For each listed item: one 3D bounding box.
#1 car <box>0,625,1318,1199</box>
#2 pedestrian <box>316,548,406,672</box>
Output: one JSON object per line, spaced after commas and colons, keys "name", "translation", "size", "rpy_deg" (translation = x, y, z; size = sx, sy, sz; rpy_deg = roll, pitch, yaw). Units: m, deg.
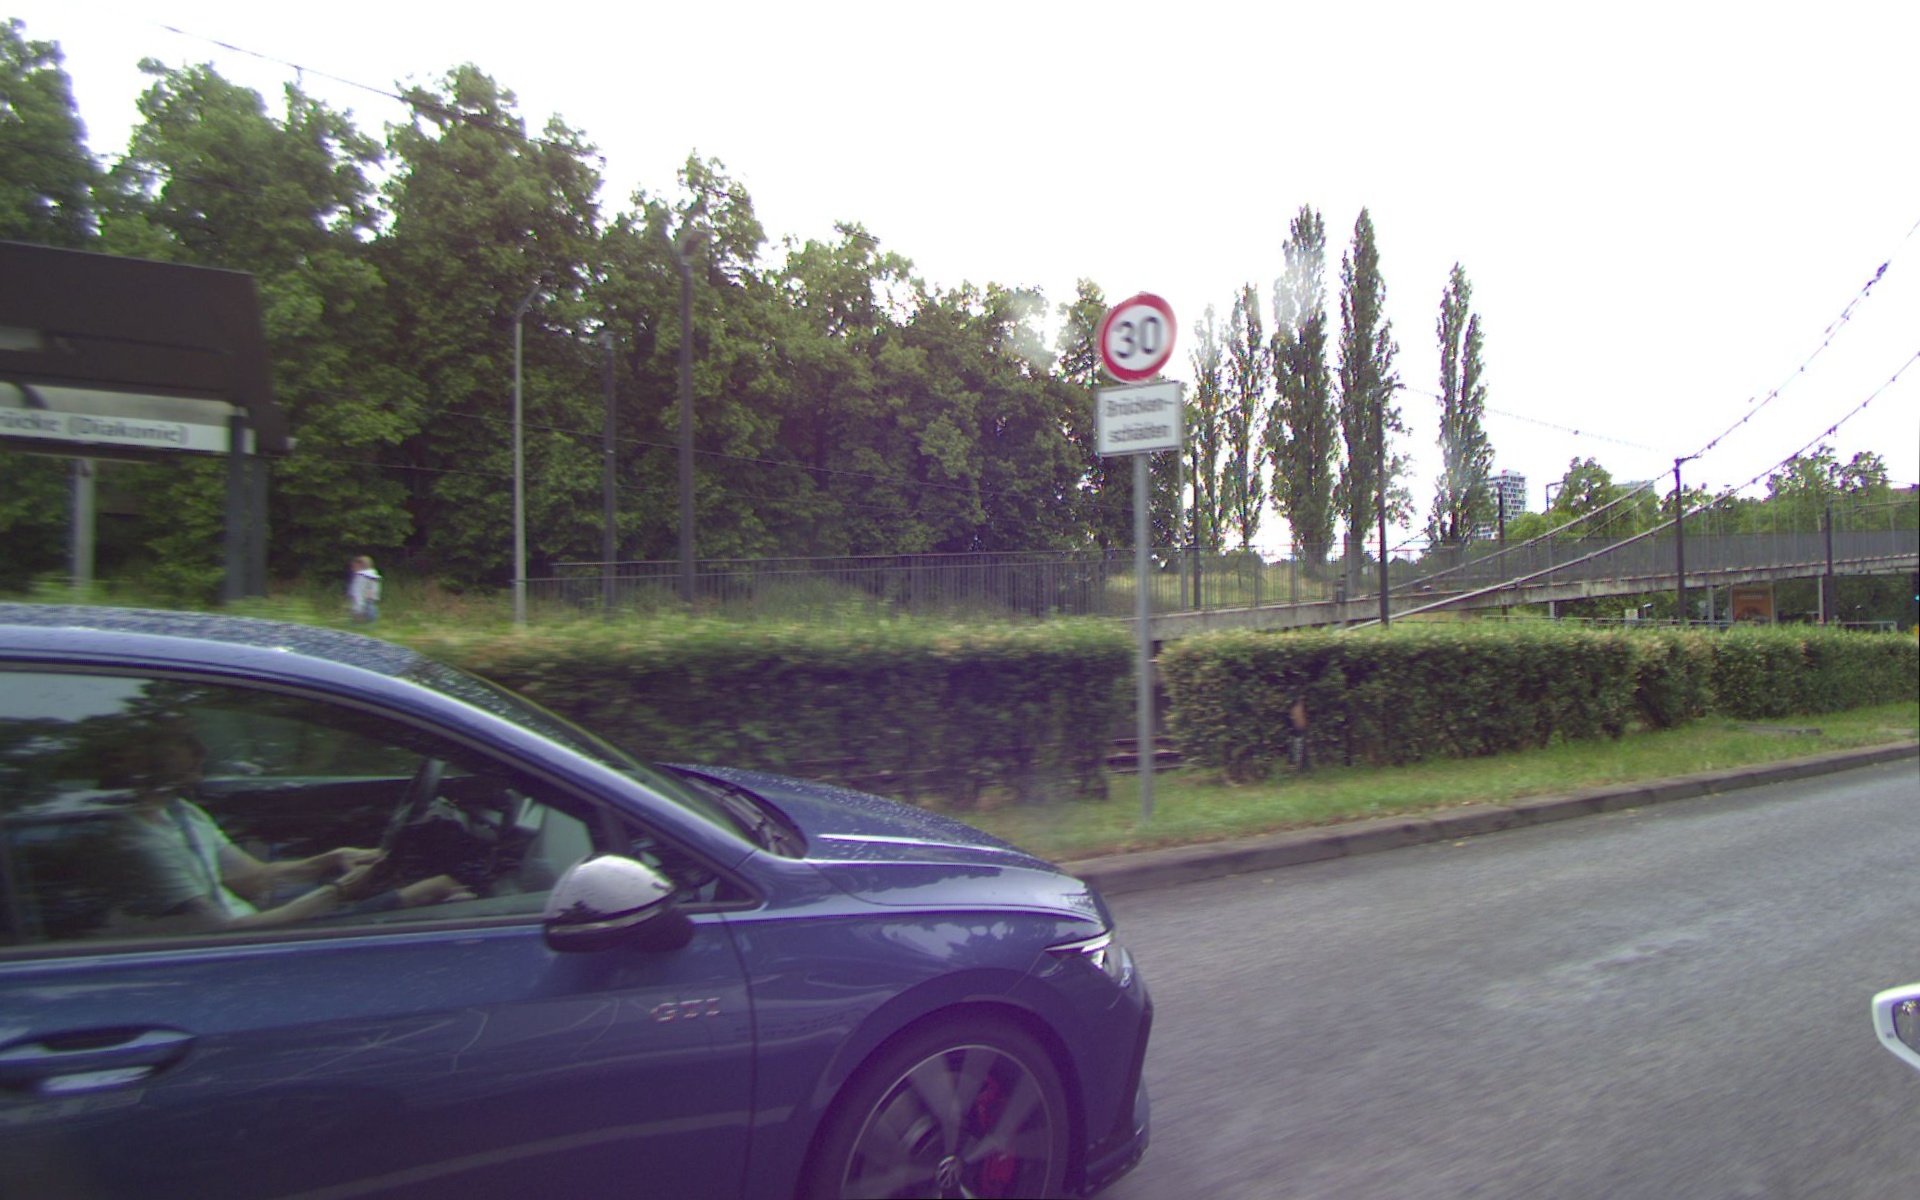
{"name": "car", "translation": [-1.380, 0.764, 2.253], "size": [4.296, 1.397, 1.800], "rpy_deg": [1, -2, -30]}
{"name": "pedestrian", "translation": [-8.263, 0.155, 13.851], "size": [0.929, 1.632, 1.016], "rpy_deg": [2, -2, -37]}
